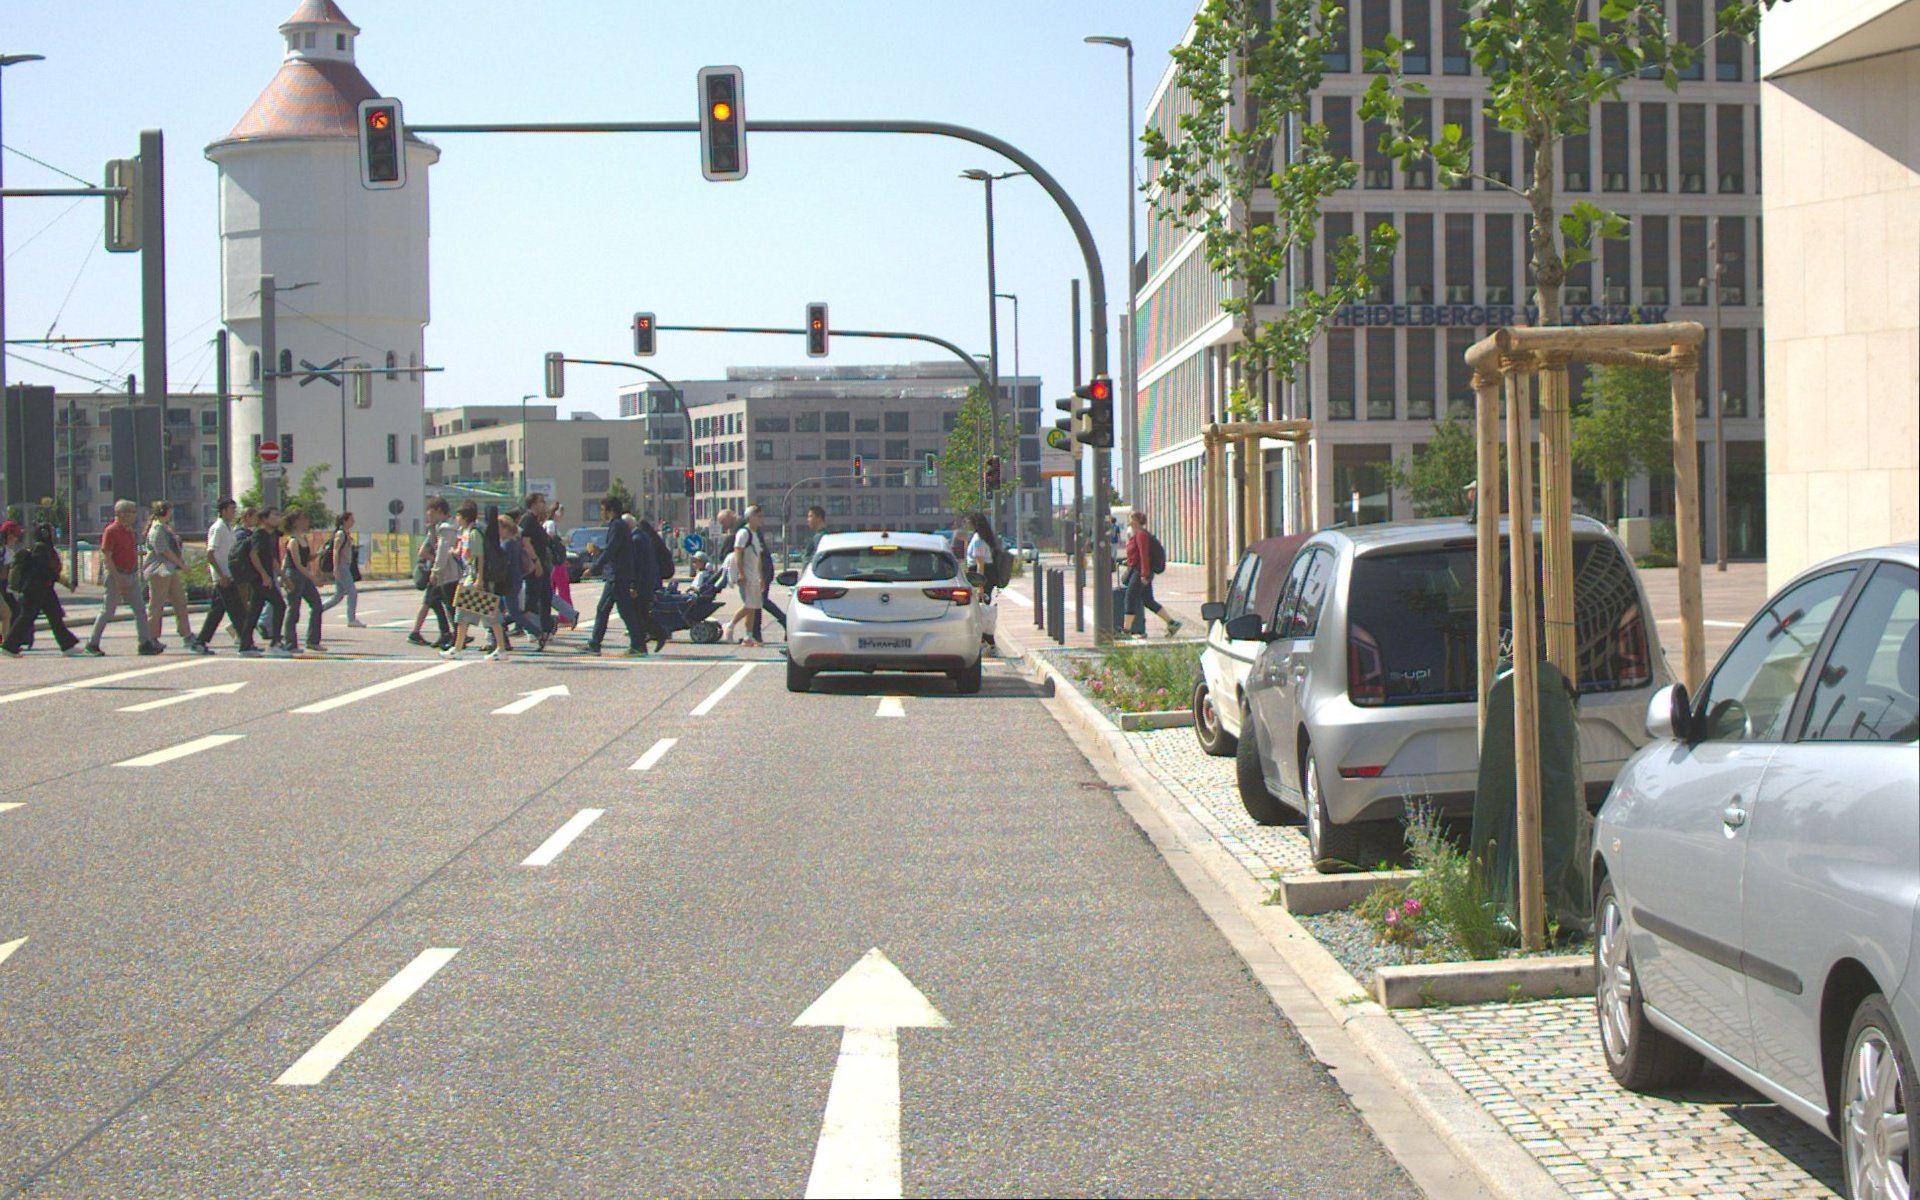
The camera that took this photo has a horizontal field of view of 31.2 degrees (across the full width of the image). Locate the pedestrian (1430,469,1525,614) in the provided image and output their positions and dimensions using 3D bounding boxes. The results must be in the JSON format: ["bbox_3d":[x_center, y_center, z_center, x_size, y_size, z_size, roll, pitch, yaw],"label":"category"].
[{"bbox_3d":[5.973,-0.679,39.728,0.990,1.649,0.692,-1,1,1],"label":"pedestrian"}]

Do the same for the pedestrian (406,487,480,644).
[{"bbox_3d":[-6.297,-0.426,41.911,0.766,1.884,0.692,-1,1,0],"label":"pedestrian"}]

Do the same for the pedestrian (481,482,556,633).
[{"bbox_3d":[-5.580,-0.539,43.471,0.841,1.884,0.692,-1,1,0],"label":"pedestrian"}]

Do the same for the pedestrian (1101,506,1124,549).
[{"bbox_3d":[5.847,-2.780,132.004,0.794,1.641,0.891,-1,1,-1],"label":"pedestrian"}]

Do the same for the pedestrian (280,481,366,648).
[{"bbox_3d":[-7.264,-0.408,39.241,0.887,1.884,0.692,-1,1,-5],"label":"pedestrian"}]

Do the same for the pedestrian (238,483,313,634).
[{"bbox_3d":[-8.707,-0.529,43.742,0.734,1.884,0.713,1,1,4],"label":"pedestrian"}]

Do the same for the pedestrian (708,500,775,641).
[{"bbox_3d":[-2.710,-0.374,42.740,0.766,1.728,0.692,-1,1,0],"label":"pedestrian"}]

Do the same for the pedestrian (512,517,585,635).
[{"bbox_3d":[-5.793,-0.348,48.426,0.888,1.641,0.796,0,1,3],"label":"pedestrian"}]

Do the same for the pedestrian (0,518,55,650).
[{"bbox_3d":[-11.915,-0.199,43.032,0.911,1.631,0.814,0,1,4],"label":"pedestrian"}]

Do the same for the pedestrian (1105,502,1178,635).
[{"bbox_3d":[2.267,-0.398,42.964,0.888,1.641,0.796,-1,1,3],"label":"pedestrian"}]

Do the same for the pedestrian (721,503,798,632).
[{"bbox_3d":[-2.576,-0.424,44.156,0.887,1.641,0.796,-1,1,-10],"label":"pedestrian"}]

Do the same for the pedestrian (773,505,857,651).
[{"bbox_3d":[-1.642,-0.253,38.860,0.887,1.629,0.692,-1,1,-5],"label":"pedestrian"}]

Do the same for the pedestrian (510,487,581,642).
[{"bbox_3d":[-5.126,-0.442,42.531,0.766,1.884,0.692,-1,1,0],"label":"pedestrian"}]

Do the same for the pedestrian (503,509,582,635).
[{"bbox_3d":[-5.474,-0.371,45.122,0.888,1.641,0.796,0,1,3],"label":"pedestrian"}]

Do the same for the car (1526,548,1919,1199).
[{"bbox_3d":[2.437,0.604,7.704,1.605,1.383,3.815,-3,1,-1],"label":"car"}]

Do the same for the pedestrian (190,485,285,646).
[{"bbox_3d":[-8.566,-0.415,40.781,0.888,1.884,0.796,0,1,4],"label":"pedestrian"}]

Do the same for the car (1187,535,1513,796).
[{"bbox_3d":[2.237,0.314,20.543,1.429,1.385,4.000,-1,1,-1],"label":"car"}]

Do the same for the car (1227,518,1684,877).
[{"bbox_3d":[2.182,0.365,15.934,1.556,1.467,3.470,-1,1,-1],"label":"car"}]

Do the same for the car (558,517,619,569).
[{"bbox_3d":[-11.420,-1.745,105.799,1.586,1.525,3.693,0,0,-2],"label":"car"}]

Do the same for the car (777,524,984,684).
[{"bbox_3d":[-0.692,0.038,32.292,1.771,1.390,3.531,1,0,1],"label":"car"}]

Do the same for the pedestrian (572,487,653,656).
[{"bbox_3d":[-3.929,-0.333,38.922,0.887,1.884,0.796,-1,1,-5],"label":"pedestrian"}]

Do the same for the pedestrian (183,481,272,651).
[{"bbox_3d":[-8.236,-0.386,38.669,0.887,1.884,0.692,-1,1,-5],"label":"pedestrian"}]

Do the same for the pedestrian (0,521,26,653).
[{"bbox_3d":[-11.623,-0.157,41.006,0.728,1.570,0.641,0,1,4],"label":"pedestrian"}]

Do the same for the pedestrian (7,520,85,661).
[{"bbox_3d":[-10.585,-0.113,39.834,0.633,1.612,0.768,0,1,5],"label":"pedestrian"}]

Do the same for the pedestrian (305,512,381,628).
[{"bbox_3d":[-8.826,-0.432,49.227,0.888,1.641,0.796,0,1,3],"label":"pedestrian"}]

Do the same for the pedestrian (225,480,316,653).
[{"bbox_3d":[-7.601,-0.376,37.929,0.887,1.884,0.692,-1,1,-5],"label":"pedestrian"}]

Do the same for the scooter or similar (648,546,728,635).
[{"bbox_3d":[-3.485,-0.133,44.005,0.950,1.114,0.767,-1,1,-10],"label":"scooter or similar"}]

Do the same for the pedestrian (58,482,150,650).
[{"bbox_3d":[-9.727,-0.388,39.086,0.887,1.884,0.692,-1,1,-5],"label":"pedestrian"}]

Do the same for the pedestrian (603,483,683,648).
[{"bbox_3d":[-3.669,-0.407,39.789,0.887,1.884,0.796,-1,1,-5],"label":"pedestrian"}]

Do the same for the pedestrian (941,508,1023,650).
[{"bbox_3d":[0.257,-0.240,39.489,0.767,1.614,0.691,0,1,16],"label":"pedestrian"}]

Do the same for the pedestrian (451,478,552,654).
[{"bbox_3d":[-4.985,-0.375,37.412,1.013,1.884,0.798,-1,1,-3],"label":"pedestrian"}]

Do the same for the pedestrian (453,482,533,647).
[{"bbox_3d":[-5.392,-0.415,39.700,0.730,1.884,0.821,0,1,5],"label":"pedestrian"}]

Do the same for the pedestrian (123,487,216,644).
[{"bbox_3d":[-9.615,-0.427,41.831,0.888,1.884,0.796,0,1,4],"label":"pedestrian"}]

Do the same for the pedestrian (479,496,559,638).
[{"bbox_3d":[-5.183,-0.390,40.459,0.794,1.641,0.891,-1,1,1],"label":"pedestrian"}]

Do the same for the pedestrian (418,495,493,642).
[{"bbox_3d":[-6.007,-0.381,40.934,0.766,1.728,0.692,-1,1,0],"label":"pedestrian"}]

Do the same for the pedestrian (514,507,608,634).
[{"bbox_3d":[-5.805,-0.440,50.066,1.181,1.814,1.068,0,1,3],"label":"pedestrian"}]

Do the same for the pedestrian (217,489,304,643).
[{"bbox_3d":[-8.626,-0.423,42.409,0.888,1.884,0.796,-1,1,-1],"label":"pedestrian"}]
